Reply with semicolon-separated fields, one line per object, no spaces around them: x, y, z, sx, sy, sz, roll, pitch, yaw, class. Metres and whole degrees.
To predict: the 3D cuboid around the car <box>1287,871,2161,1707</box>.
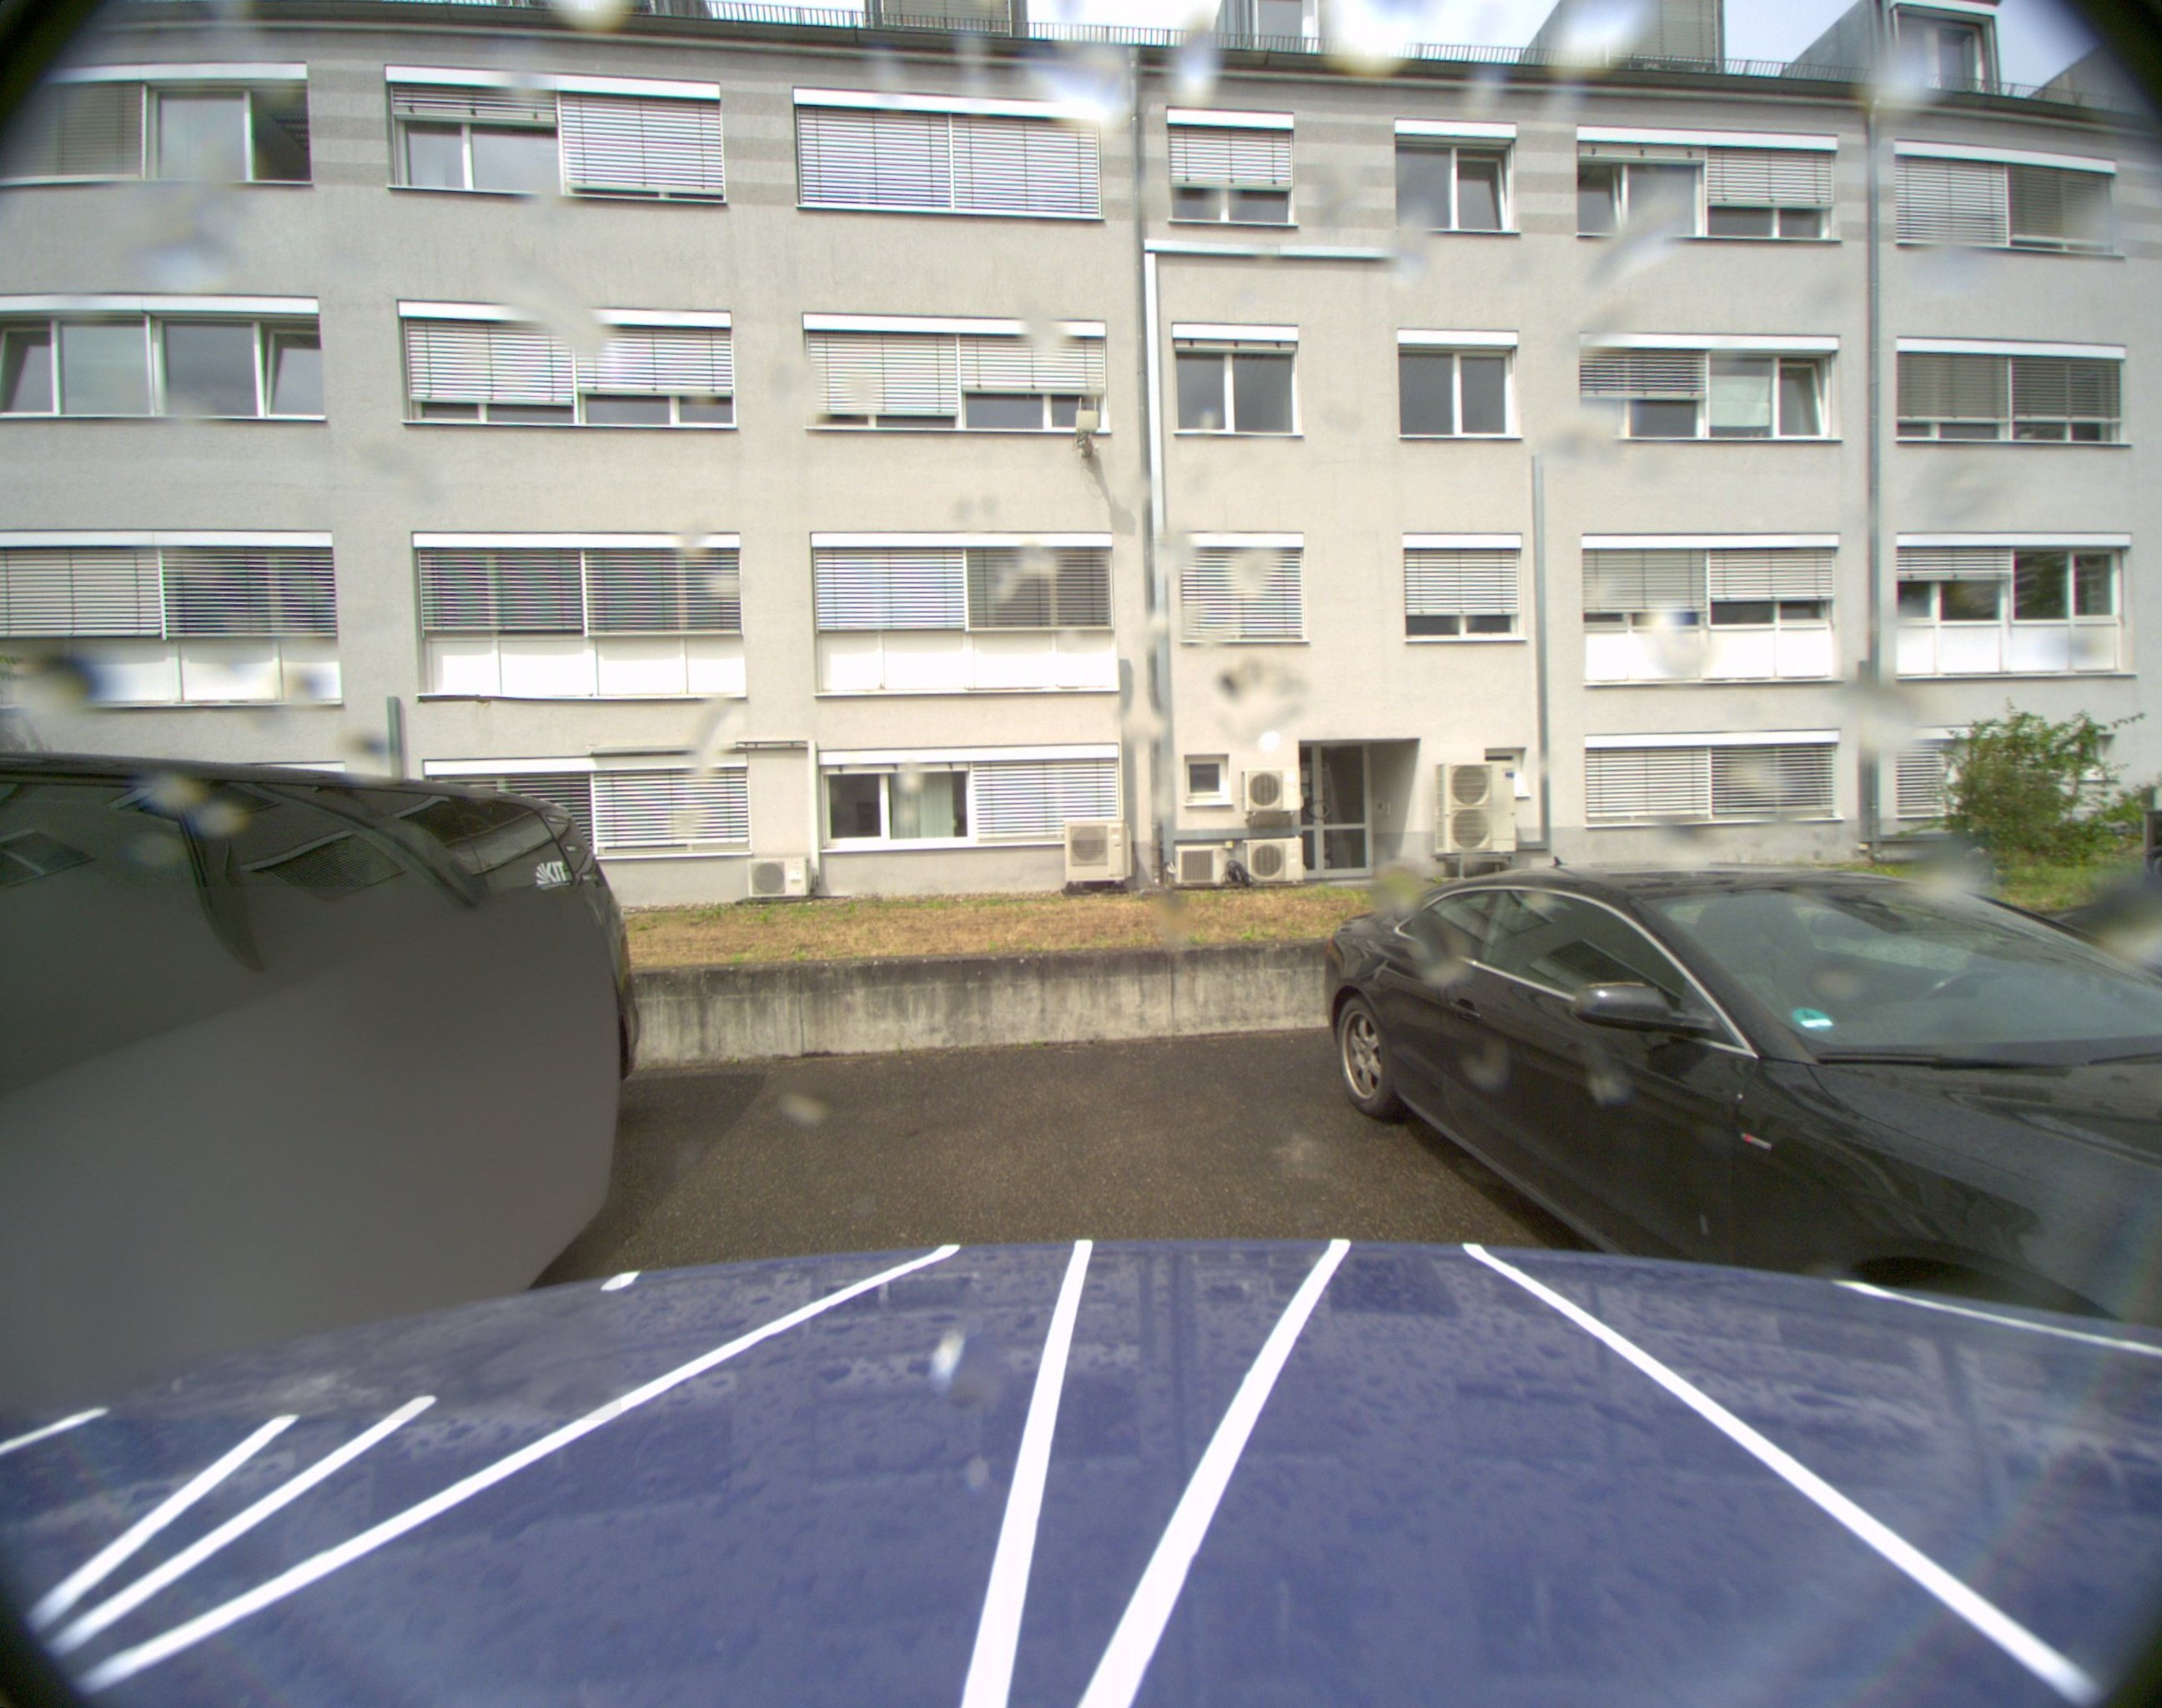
2.374;0.886;2.654;1.762;1.344;4.526;-3;2;-4;car

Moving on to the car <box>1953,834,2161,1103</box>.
7.004;0.673;3.098;1.762;1.434;4.312;-3;2;-5;car

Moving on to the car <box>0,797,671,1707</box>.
-3.264;0.829;2.098;1.970;1.854;4.744;-2;2;-5;car
